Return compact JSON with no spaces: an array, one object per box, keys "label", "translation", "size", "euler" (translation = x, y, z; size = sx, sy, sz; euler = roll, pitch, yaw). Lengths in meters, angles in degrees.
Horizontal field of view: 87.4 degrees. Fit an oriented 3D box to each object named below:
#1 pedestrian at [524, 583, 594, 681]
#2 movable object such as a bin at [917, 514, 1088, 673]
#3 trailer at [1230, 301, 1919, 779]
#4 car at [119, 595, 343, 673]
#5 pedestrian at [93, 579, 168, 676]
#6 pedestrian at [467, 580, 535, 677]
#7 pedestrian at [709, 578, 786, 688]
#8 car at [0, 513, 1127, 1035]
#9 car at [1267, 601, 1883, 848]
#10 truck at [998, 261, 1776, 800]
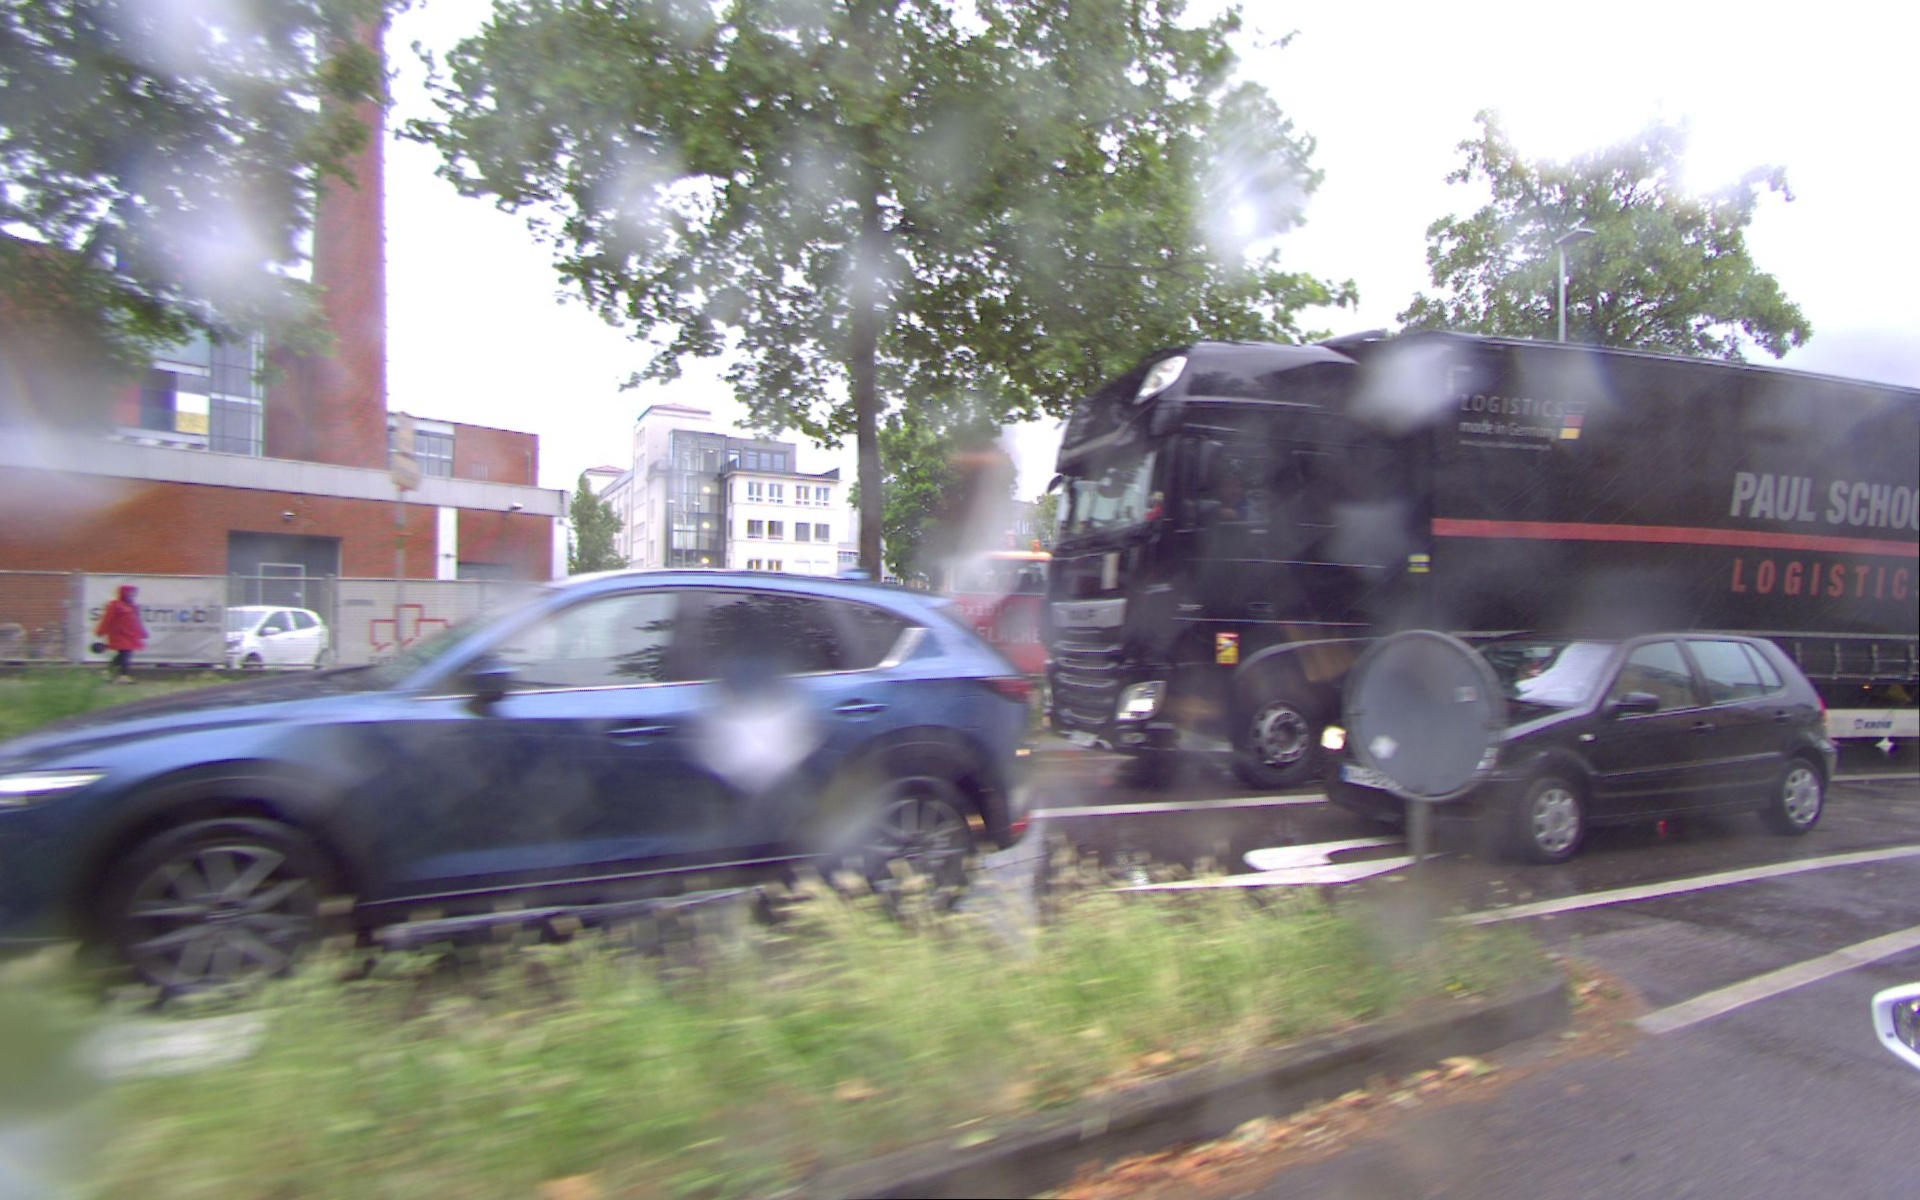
[{"label":"pedestrian","translation":[-6.718,0.527,16.851],"size":[0.863,1.602,0.643],"euler":[1,-1,4]},{"label":"movable object such as a bin","translation":[0.679,-0.089,22.452],"size":[2.723,2.969,6.771],"euler":[1,0,-7]},{"label":"trailer","translation":[10.762,-0.350,12.561],"size":[14.811,4.102,3.440],"euler":[1,-1,-18]},{"label":"car","translation":[-13.915,0.609,19.459],"size":[1.808,1.339,3.663],"euler":[1,0,-4]},{"label":"pedestrian","translation":[-13.437,0.444,16.271],"size":[0.818,1.524,0.844],"euler":[-1,-2,45]},{"label":"pedestrian","translation":[-7.392,0.456,16.200],"size":[0.756,1.535,0.643],"euler":[1,-1,4]},{"label":"pedestrian","translation":[-3.342,0.511,15.808],"size":[0.891,1.671,0.753],"euler":[0,-1,26]},{"label":"car","translation":[-1.802,0.534,4.984],"size":[4.860,1.705,2.068],"euler":[0,2,-24]},{"label":"car","translation":[4.394,0.737,7.199],"size":[4.039,1.391,1.695],"euler":[1,-1,-22]},{"label":"truck","translation":[4.214,-0.469,10.425],"size":[6.864,4.133,3.448],"euler":[1,0,-18]}]
